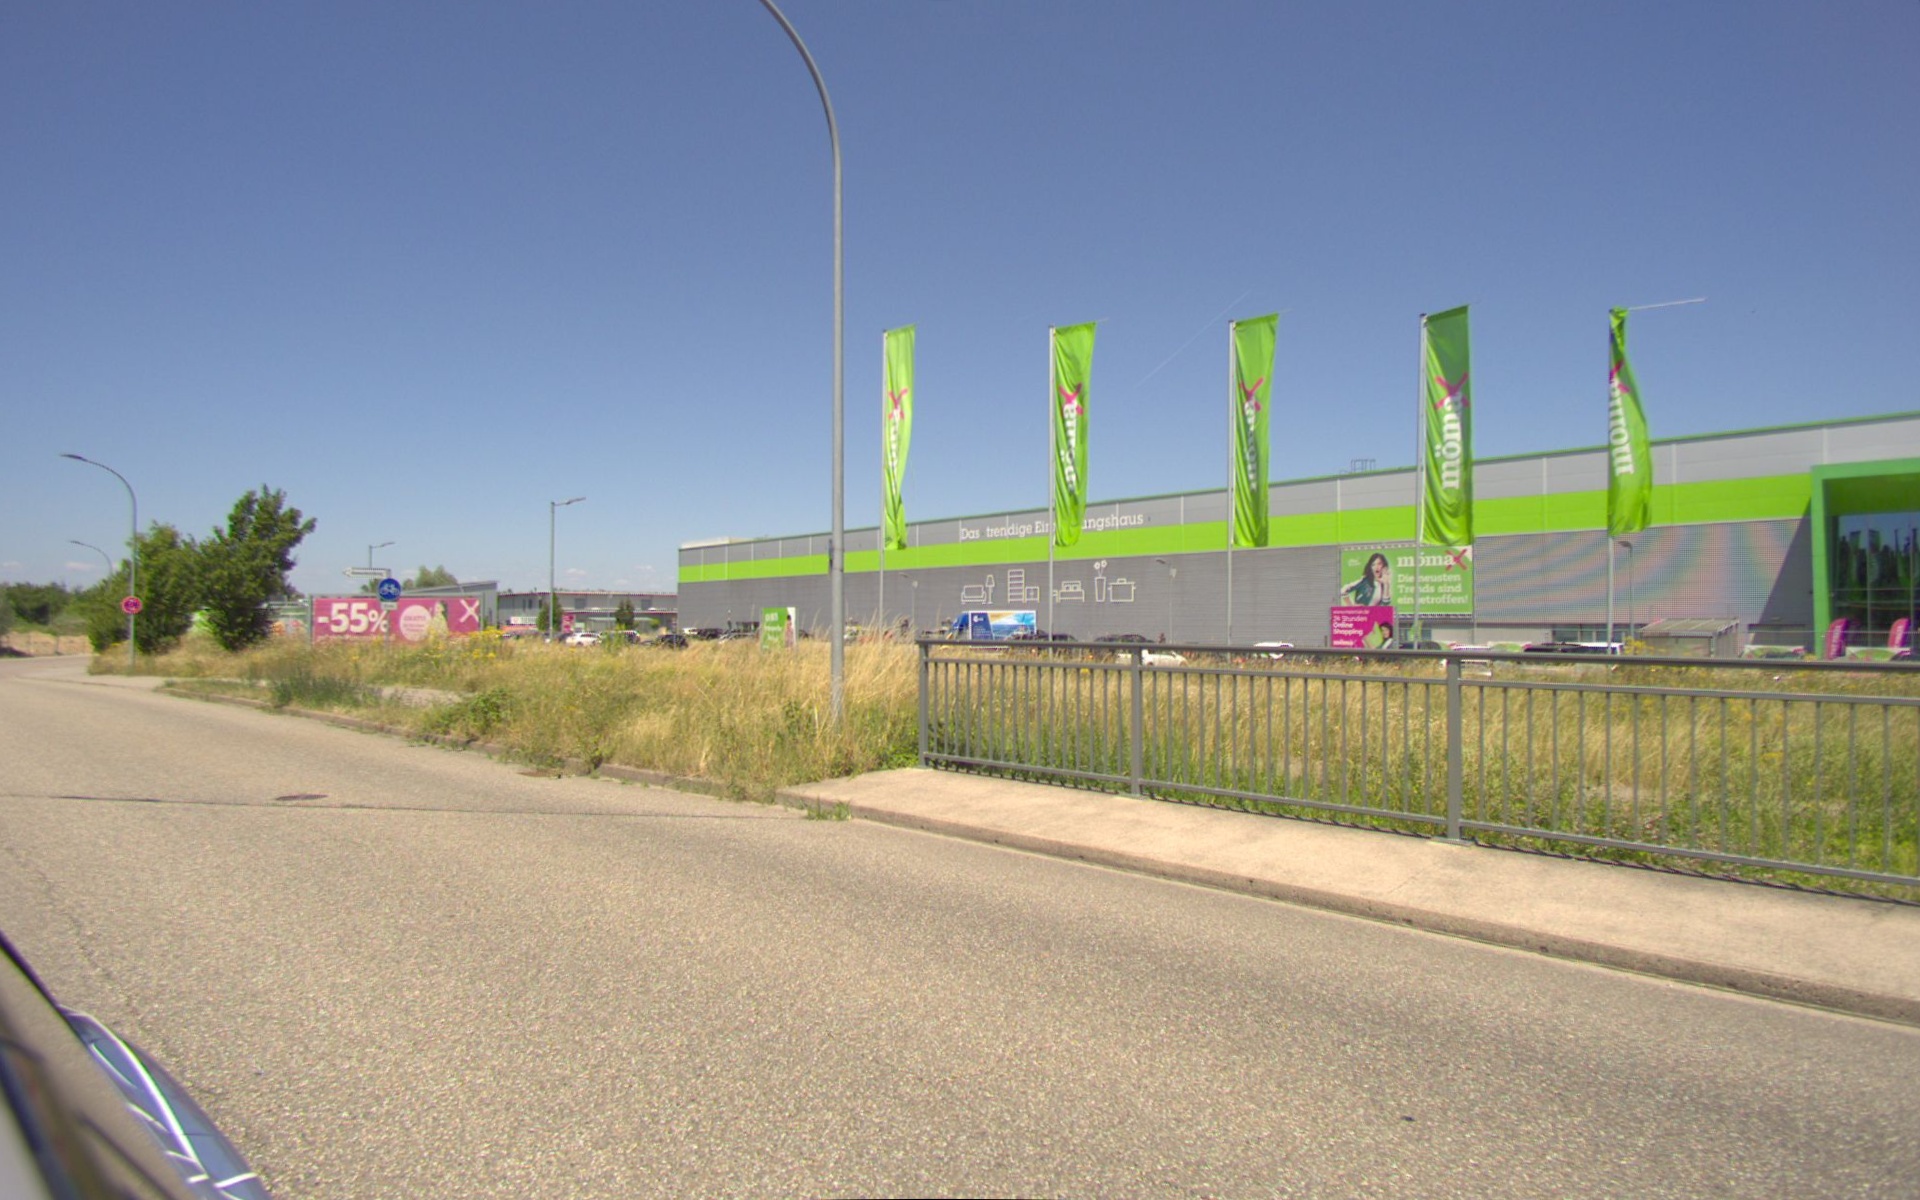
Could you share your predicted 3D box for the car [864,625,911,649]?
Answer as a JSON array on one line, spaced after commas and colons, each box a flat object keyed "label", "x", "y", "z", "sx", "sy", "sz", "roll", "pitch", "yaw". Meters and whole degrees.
[{"label": "car", "x": -6.621, "y": 3.413, "z": 92.841, "sx": 3.941, "sy": 2.029, "sz": 2.001, "roll": -1, "pitch": -1, "yaw": -45}]

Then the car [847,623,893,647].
[{"label": "car", "x": -8.422, "y": 3.245, "z": 94.555, "sx": 3.940, "sy": 2.029, "sz": 1.912, "roll": -1, "pitch": -1, "yaw": -44}]

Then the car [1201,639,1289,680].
[{"label": "car", "x": 12.290, "y": 2.536, "z": 43.550, "sx": 2.001, "sy": 1.524, "sz": 3.942, "roll": -3, "pitch": -1, "yaw": 44}]

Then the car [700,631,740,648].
[{"label": "car", "x": -26.891, "y": 4.414, "z": 113.453, "sx": 3.940, "sy": 1.752, "sz": 2.002, "roll": -1, "pitch": 0, "yaw": -44}]

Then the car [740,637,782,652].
[{"label": "car", "x": -21.391, "y": 4.784, "z": 108.947, "sx": 3.939, "sy": 1.534, "sz": 2.002, "roll": 1, "pitch": -3, "yaw": -43}]

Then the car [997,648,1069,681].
[{"label": "car", "x": 4.518, "y": 3.956, "z": 62.655, "sx": 4.205, "sy": 1.775, "sz": 2.003, "roll": -1, "pitch": -2, "yaw": -41}]

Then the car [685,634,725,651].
[{"label": "car", "x": -29.051, "y": 4.824, "z": 115.548, "sx": 3.940, "sy": 1.752, "sz": 2.002, "roll": -1, "pitch": 0, "yaw": -44}]

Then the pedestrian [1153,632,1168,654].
[{"label": "pedestrian", "x": 13.610, "y": 2.951, "z": 68.748, "sx": 0.766, "sy": 1.463, "sz": 0.630, "roll": -3, "pitch": -1, "yaw": 42}]

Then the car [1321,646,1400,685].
[{"label": "car", "x": 18.461, "y": 2.967, "z": 46.575, "sx": 2.001, "sy": 1.524, "sz": 3.942, "roll": -3, "pitch": -1, "yaw": 44}]

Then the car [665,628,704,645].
[{"label": "car", "x": -32.219, "y": 4.244, "z": 118.280, "sx": 3.940, "sy": 1.752, "sz": 2.002, "roll": -1, "pitch": 0, "yaw": -44}]

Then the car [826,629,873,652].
[{"label": "car", "x": -10.579, "y": 3.879, "z": 96.964, "sx": 3.936, "sy": 2.029, "sz": 1.914, "roll": -1, "pitch": -1, "yaw": -39}]

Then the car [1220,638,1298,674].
[{"label": "car", "x": 14.607, "y": 2.714, "z": 49.400, "sx": 2.001, "sy": 1.524, "sz": 3.942, "roll": -3, "pitch": -1, "yaw": 44}]

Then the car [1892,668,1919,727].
[{"label": "car", "x": 30.595, "y": 3.038, "z": 31.637, "sx": 2.001, "sy": 1.524, "sz": 3.942, "roll": -3, "pitch": -1, "yaw": 44}]

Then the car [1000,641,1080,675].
[{"label": "car", "x": 4.099, "y": 2.930, "z": 51.546, "sx": 2.001, "sy": 1.478, "sz": 3.942, "roll": -3, "pitch": -1, "yaw": 44}]

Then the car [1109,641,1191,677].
[{"label": "car", "x": 8.930, "y": 2.728, "z": 47.405, "sx": 1.847, "sy": 1.448, "sz": 3.942, "roll": -3, "pitch": -1, "yaw": 44}]

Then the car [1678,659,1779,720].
[{"label": "car", "x": 23.881, "y": 2.727, "z": 31.405, "sx": 2.001, "sy": 1.524, "sz": 3.942, "roll": -3, "pitch": -1, "yaw": 44}]

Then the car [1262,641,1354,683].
[{"label": "car", "x": 14.128, "y": 2.474, "z": 40.961, "sx": 2.001, "sy": 1.441, "sz": 3.942, "roll": -3, "pitch": -1, "yaw": 44}]

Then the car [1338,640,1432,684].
[{"label": "car", "x": 16.500, "y": 2.352, "z": 39.202, "sx": 2.001, "sy": 1.455, "sz": 3.942, "roll": -3, "pitch": -1, "yaw": 44}]

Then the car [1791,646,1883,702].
[{"label": "car", "x": 28.792, "y": 2.366, "z": 33.185, "sx": 2.001, "sy": 1.524, "sz": 3.942, "roll": -3, "pitch": -1, "yaw": 44}]

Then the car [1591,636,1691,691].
[{"label": "car", "x": 22.245, "y": 2.030, "z": 33.023, "sx": 2.001, "sy": 1.524, "sz": 3.942, "roll": -3, "pitch": -1, "yaw": 44}]

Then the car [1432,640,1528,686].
[{"label": "car", "x": 19.028, "y": 2.259, "z": 36.966, "sx": 2.001, "sy": 1.420, "sz": 3.942, "roll": -3, "pitch": -1, "yaw": 44}]

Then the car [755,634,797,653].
[{"label": "car", "x": -19.373, "y": 4.553, "z": 106.796, "sx": 3.940, "sy": 1.752, "sz": 2.002, "roll": -1, "pitch": 0, "yaw": -44}]

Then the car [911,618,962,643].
[{"label": "car", "x": -2.035, "y": 2.599, "z": 87.428, "sx": 3.937, "sy": 2.029, "sz": 2.003, "roll": -1, "pitch": -1, "yaw": -40}]

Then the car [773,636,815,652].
[{"label": "car", "x": -17.222, "y": 4.550, "z": 105.027, "sx": 3.939, "sy": 1.534, "sz": 2.002, "roll": 1, "pitch": -3, "yaw": -43}]

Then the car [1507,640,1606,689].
[{"label": "car", "x": 20.493, "y": 2.172, "z": 34.726, "sx": 2.001, "sy": 1.427, "sz": 3.942, "roll": -3, "pitch": -1, "yaw": 44}]

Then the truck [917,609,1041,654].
[{"label": "truck", "x": 1.197, "y": 2.053, "z": 66.631, "sx": 7.650, "sy": 2.704, "sz": 2.968, "roll": -1, "pitch": -2, "yaw": -11}]

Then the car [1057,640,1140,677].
[{"label": "car", "x": 6.755, "y": 2.802, "z": 49.063, "sx": 2.001, "sy": 1.524, "sz": 3.942, "roll": -3, "pitch": -1, "yaw": 44}]

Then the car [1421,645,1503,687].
[{"label": "car", "x": 21.584, "y": 2.790, "z": 43.435, "sx": 2.001, "sy": 1.524, "sz": 3.942, "roll": -3, "pitch": -1, "yaw": 44}]
